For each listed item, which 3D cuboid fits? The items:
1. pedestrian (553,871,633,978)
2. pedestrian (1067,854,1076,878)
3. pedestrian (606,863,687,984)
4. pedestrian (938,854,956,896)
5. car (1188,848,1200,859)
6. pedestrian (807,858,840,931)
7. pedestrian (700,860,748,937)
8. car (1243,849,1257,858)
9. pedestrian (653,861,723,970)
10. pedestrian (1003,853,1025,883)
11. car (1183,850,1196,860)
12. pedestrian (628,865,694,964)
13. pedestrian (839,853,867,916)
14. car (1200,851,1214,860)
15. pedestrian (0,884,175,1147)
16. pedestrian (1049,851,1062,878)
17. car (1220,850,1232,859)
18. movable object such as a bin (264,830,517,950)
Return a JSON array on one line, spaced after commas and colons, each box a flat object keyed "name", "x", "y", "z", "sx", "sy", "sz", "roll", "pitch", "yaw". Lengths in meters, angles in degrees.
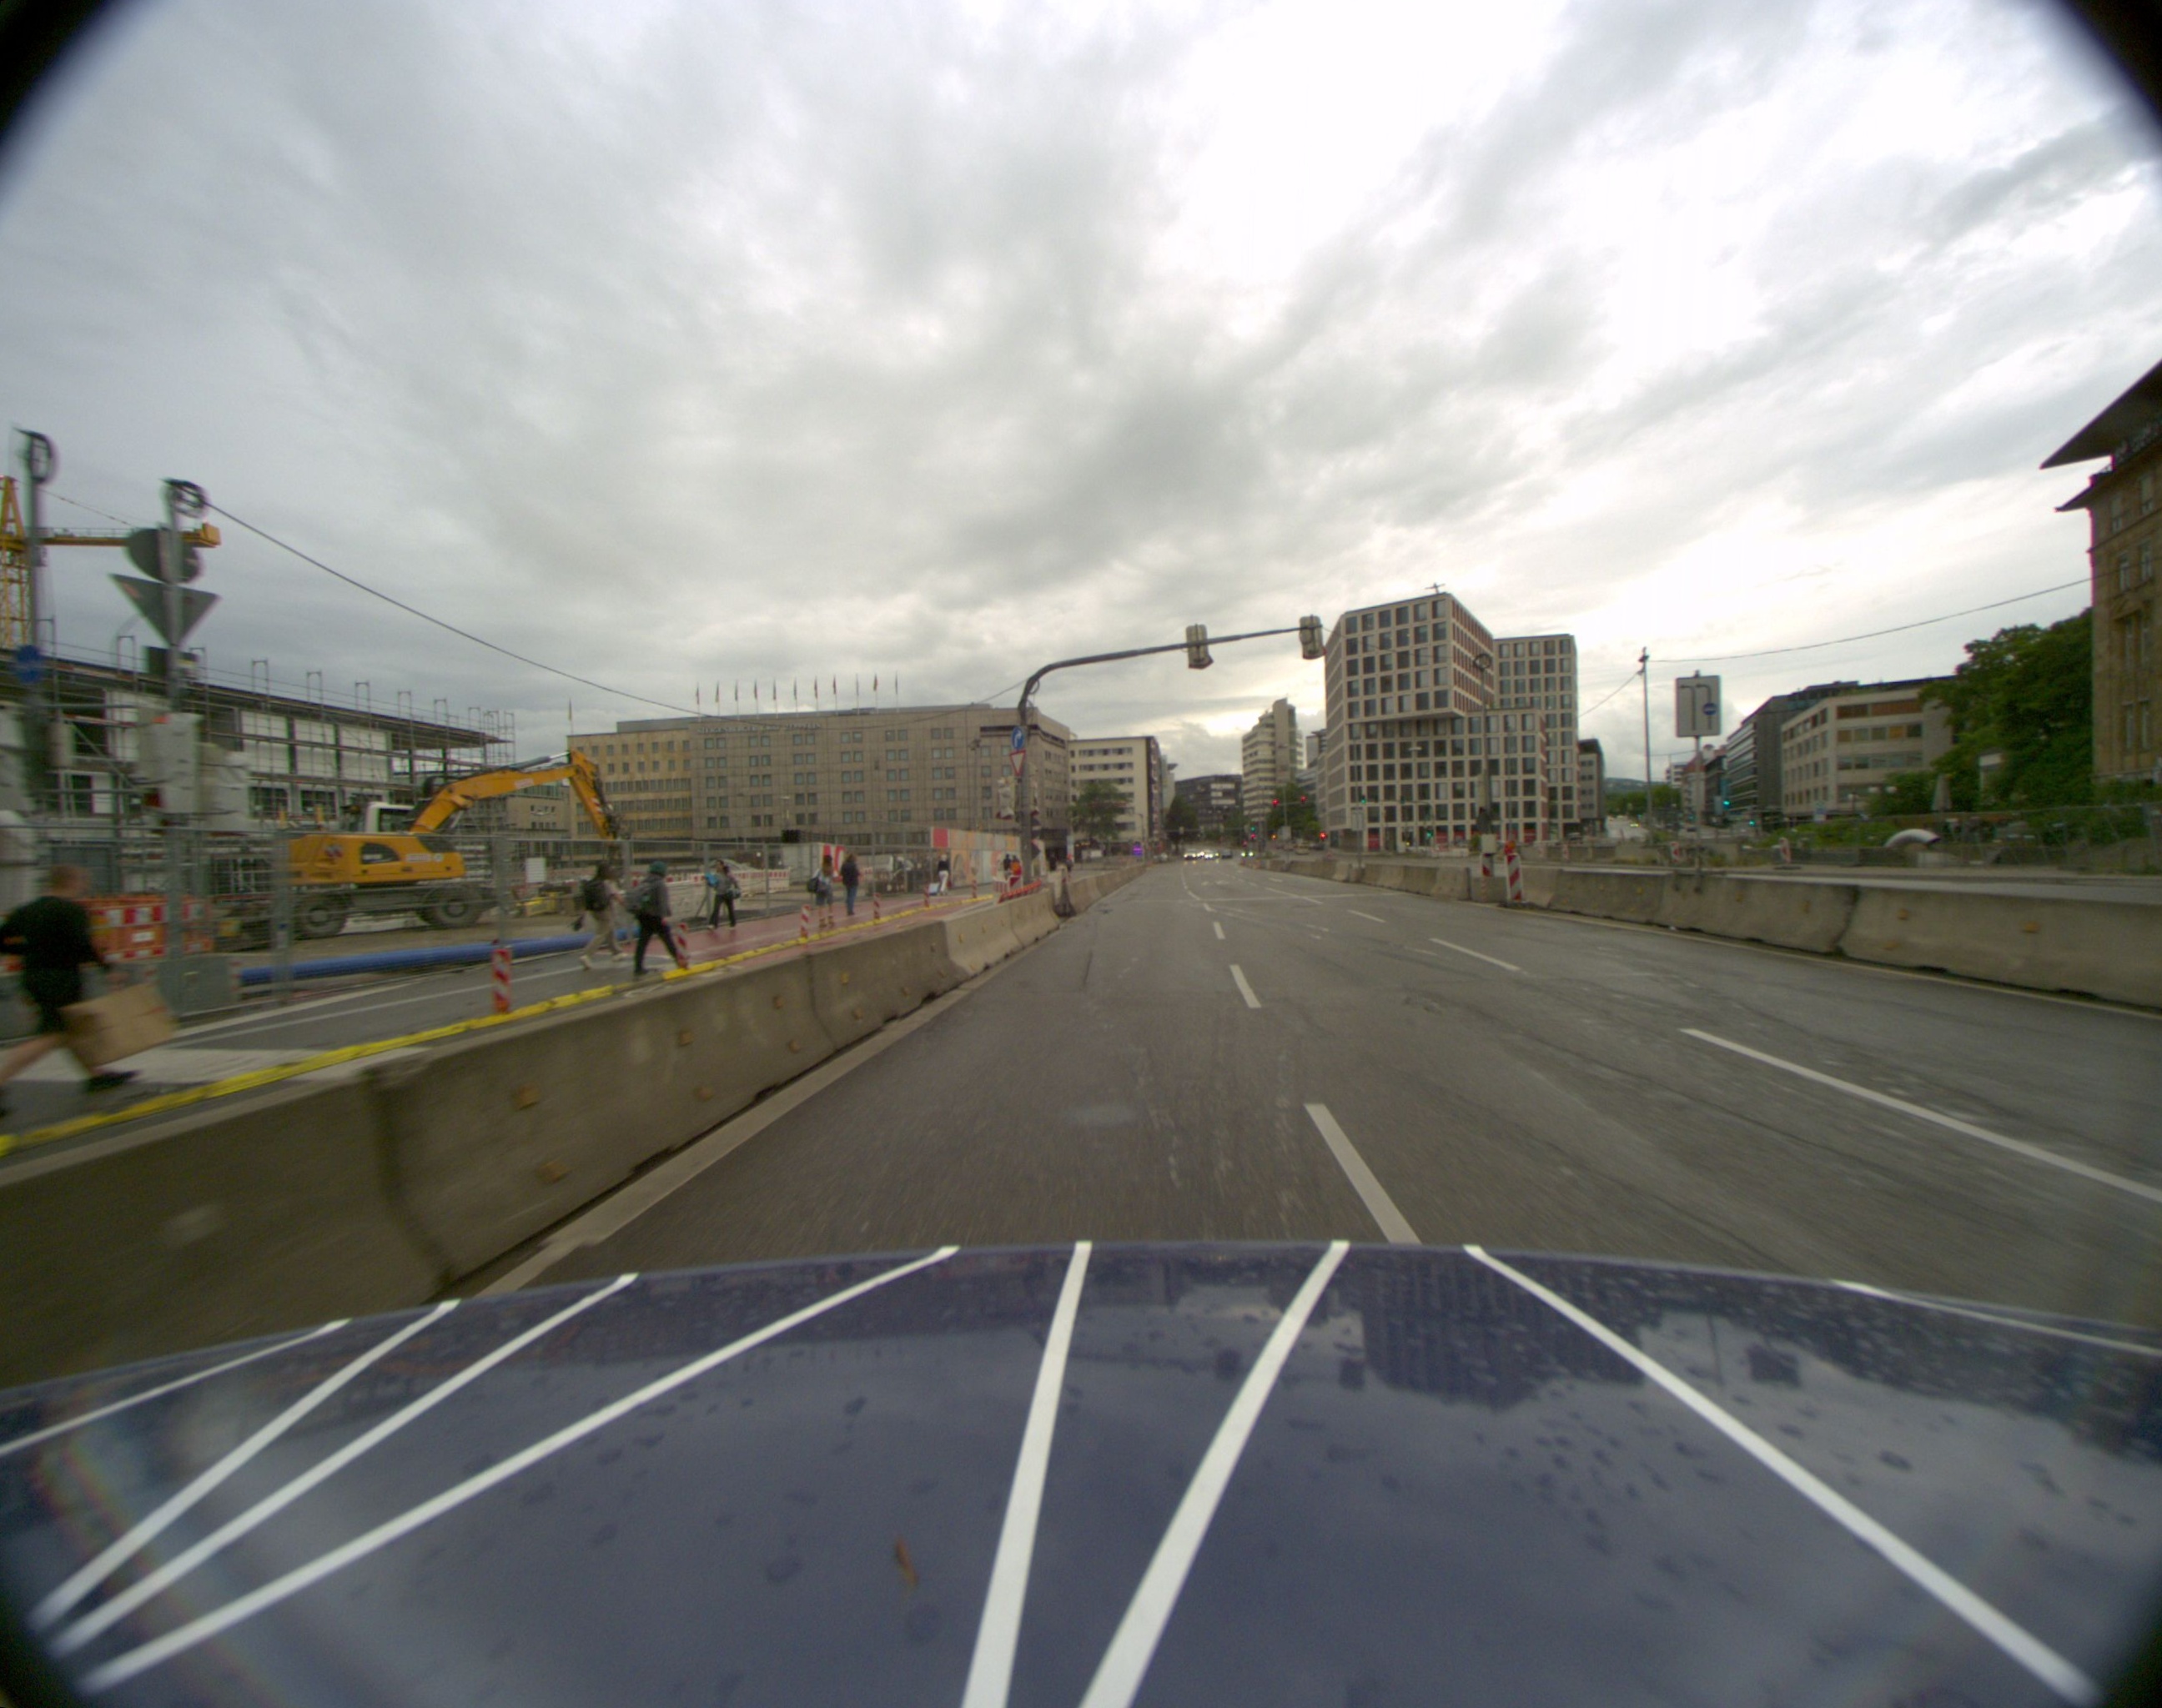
[{"name": "pedestrian", "x": -7.627, "y": 1.077, "z": 11.917, "sx": 0.670, "sy": 1.571, "sz": 0.902, "roll": -1, "pitch": 1, "yaw": -4}, {"name": "pedestrian", "x": -0.711, "y": 0.881, "z": 57.117, "sx": 0.654, "sy": 1.751, "sz": 0.548, "roll": -1, "pitch": 1, "yaw": -6}, {"name": "pedestrian", "x": -6.316, "y": 0.982, "z": 11.075, "sx": 0.655, "sy": 1.681, "sz": 0.776, "roll": -1, "pitch": 1, "yaw": 6}, {"name": "pedestrian", "x": -5.495, "y": 0.851, "z": 31.175, "sx": 0.649, "sy": 1.660, "sz": 0.765, "roll": -1, "pitch": 1, "yaw": -6}, {"name": "car", "x": 21.327, "y": -0.074, "z": 143.698, "sx": 1.998, "sy": 1.838, "sz": 4.001, "roll": -2, "pitch": 1, "yaw": 4}, {"name": "pedestrian", "x": -6.130, "y": 0.944, "z": 18.133, "sx": 0.586, "sy": 1.698, "sz": 0.676, "roll": -1, "pitch": 1, "yaw": -6}, {"name": "pedestrian", "x": -8.112, "y": 0.994, "z": 17.284, "sx": 0.747, "sy": 1.696, "sz": 0.687, "roll": -1, "pitch": 1, "yaw": -4}, {"name": "car", "x": 29.581, "y": -0.017, "z": 132.832, "sx": 1.791, "sy": 1.445, "sz": 3.673, "roll": -2, "pitch": 1, "yaw": 4}, {"name": "pedestrian", "x": -6.311, "y": 0.965, "z": 12.234, "sx": 0.655, "sy": 1.681, "sz": 0.776, "roll": -1, "pitch": 1, "yaw": 6}, {"name": "pedestrian", "x": -4.018, "y": 0.824, "z": 45.876, "sx": 1.098, "sy": 1.751, "sz": 0.907, "roll": 0, "pitch": 1, "yaw": 9}, {"name": "car", "x": 19.240, "y": 0.159, "z": 135.358, "sx": 1.998, "sy": 1.814, "sz": 4.001, "roll": -2, "pitch": 1, "yaw": 4}, {"name": "pedestrian", "x": -7.420, "y": 1.046, "z": 13.449, "sx": 0.655, "sy": 1.681, "sz": 0.776, "roll": -1, "pitch": 1, "yaw": 6}, {"name": "pedestrian", "x": -6.471, "y": 0.859, "z": 21.575, "sx": 0.649, "sy": 1.751, "sz": 0.583, "roll": -1, "pitch": 1, "yaw": -6}, {"name": "car", "x": 22.131, "y": 0.230, "z": 133.821, "sx": 1.998, "sy": 1.445, "sz": 4.001, "roll": -2, "pitch": 1, "yaw": 4}, {"name": "pedestrian", "x": -7.217, "y": 1.056, "z": 5.290, "sx": 0.649, "sy": 1.637, "sz": 0.947, "roll": -1, "pitch": 1, "yaw": -4}, {"name": "pedestrian", "x": -1.699, "y": 0.673, "z": 50.157, "sx": 0.757, "sy": 1.751, "sz": 0.765, "roll": -1, "pitch": 1, "yaw": -6}, {"name": "car", "x": 25.384, "y": 0.114, "z": 133.101, "sx": 1.708, "sy": 1.445, "sz": 3.796, "roll": -2, "pitch": 1, "yaw": 4}, {"name": "movable object such as a bin", "x": -16.541, "y": 0.732, "z": 18.390, "sx": 1.994, "sy": 2.521, "sz": 4.136, "roll": -1, "pitch": 1, "yaw": 38}]
